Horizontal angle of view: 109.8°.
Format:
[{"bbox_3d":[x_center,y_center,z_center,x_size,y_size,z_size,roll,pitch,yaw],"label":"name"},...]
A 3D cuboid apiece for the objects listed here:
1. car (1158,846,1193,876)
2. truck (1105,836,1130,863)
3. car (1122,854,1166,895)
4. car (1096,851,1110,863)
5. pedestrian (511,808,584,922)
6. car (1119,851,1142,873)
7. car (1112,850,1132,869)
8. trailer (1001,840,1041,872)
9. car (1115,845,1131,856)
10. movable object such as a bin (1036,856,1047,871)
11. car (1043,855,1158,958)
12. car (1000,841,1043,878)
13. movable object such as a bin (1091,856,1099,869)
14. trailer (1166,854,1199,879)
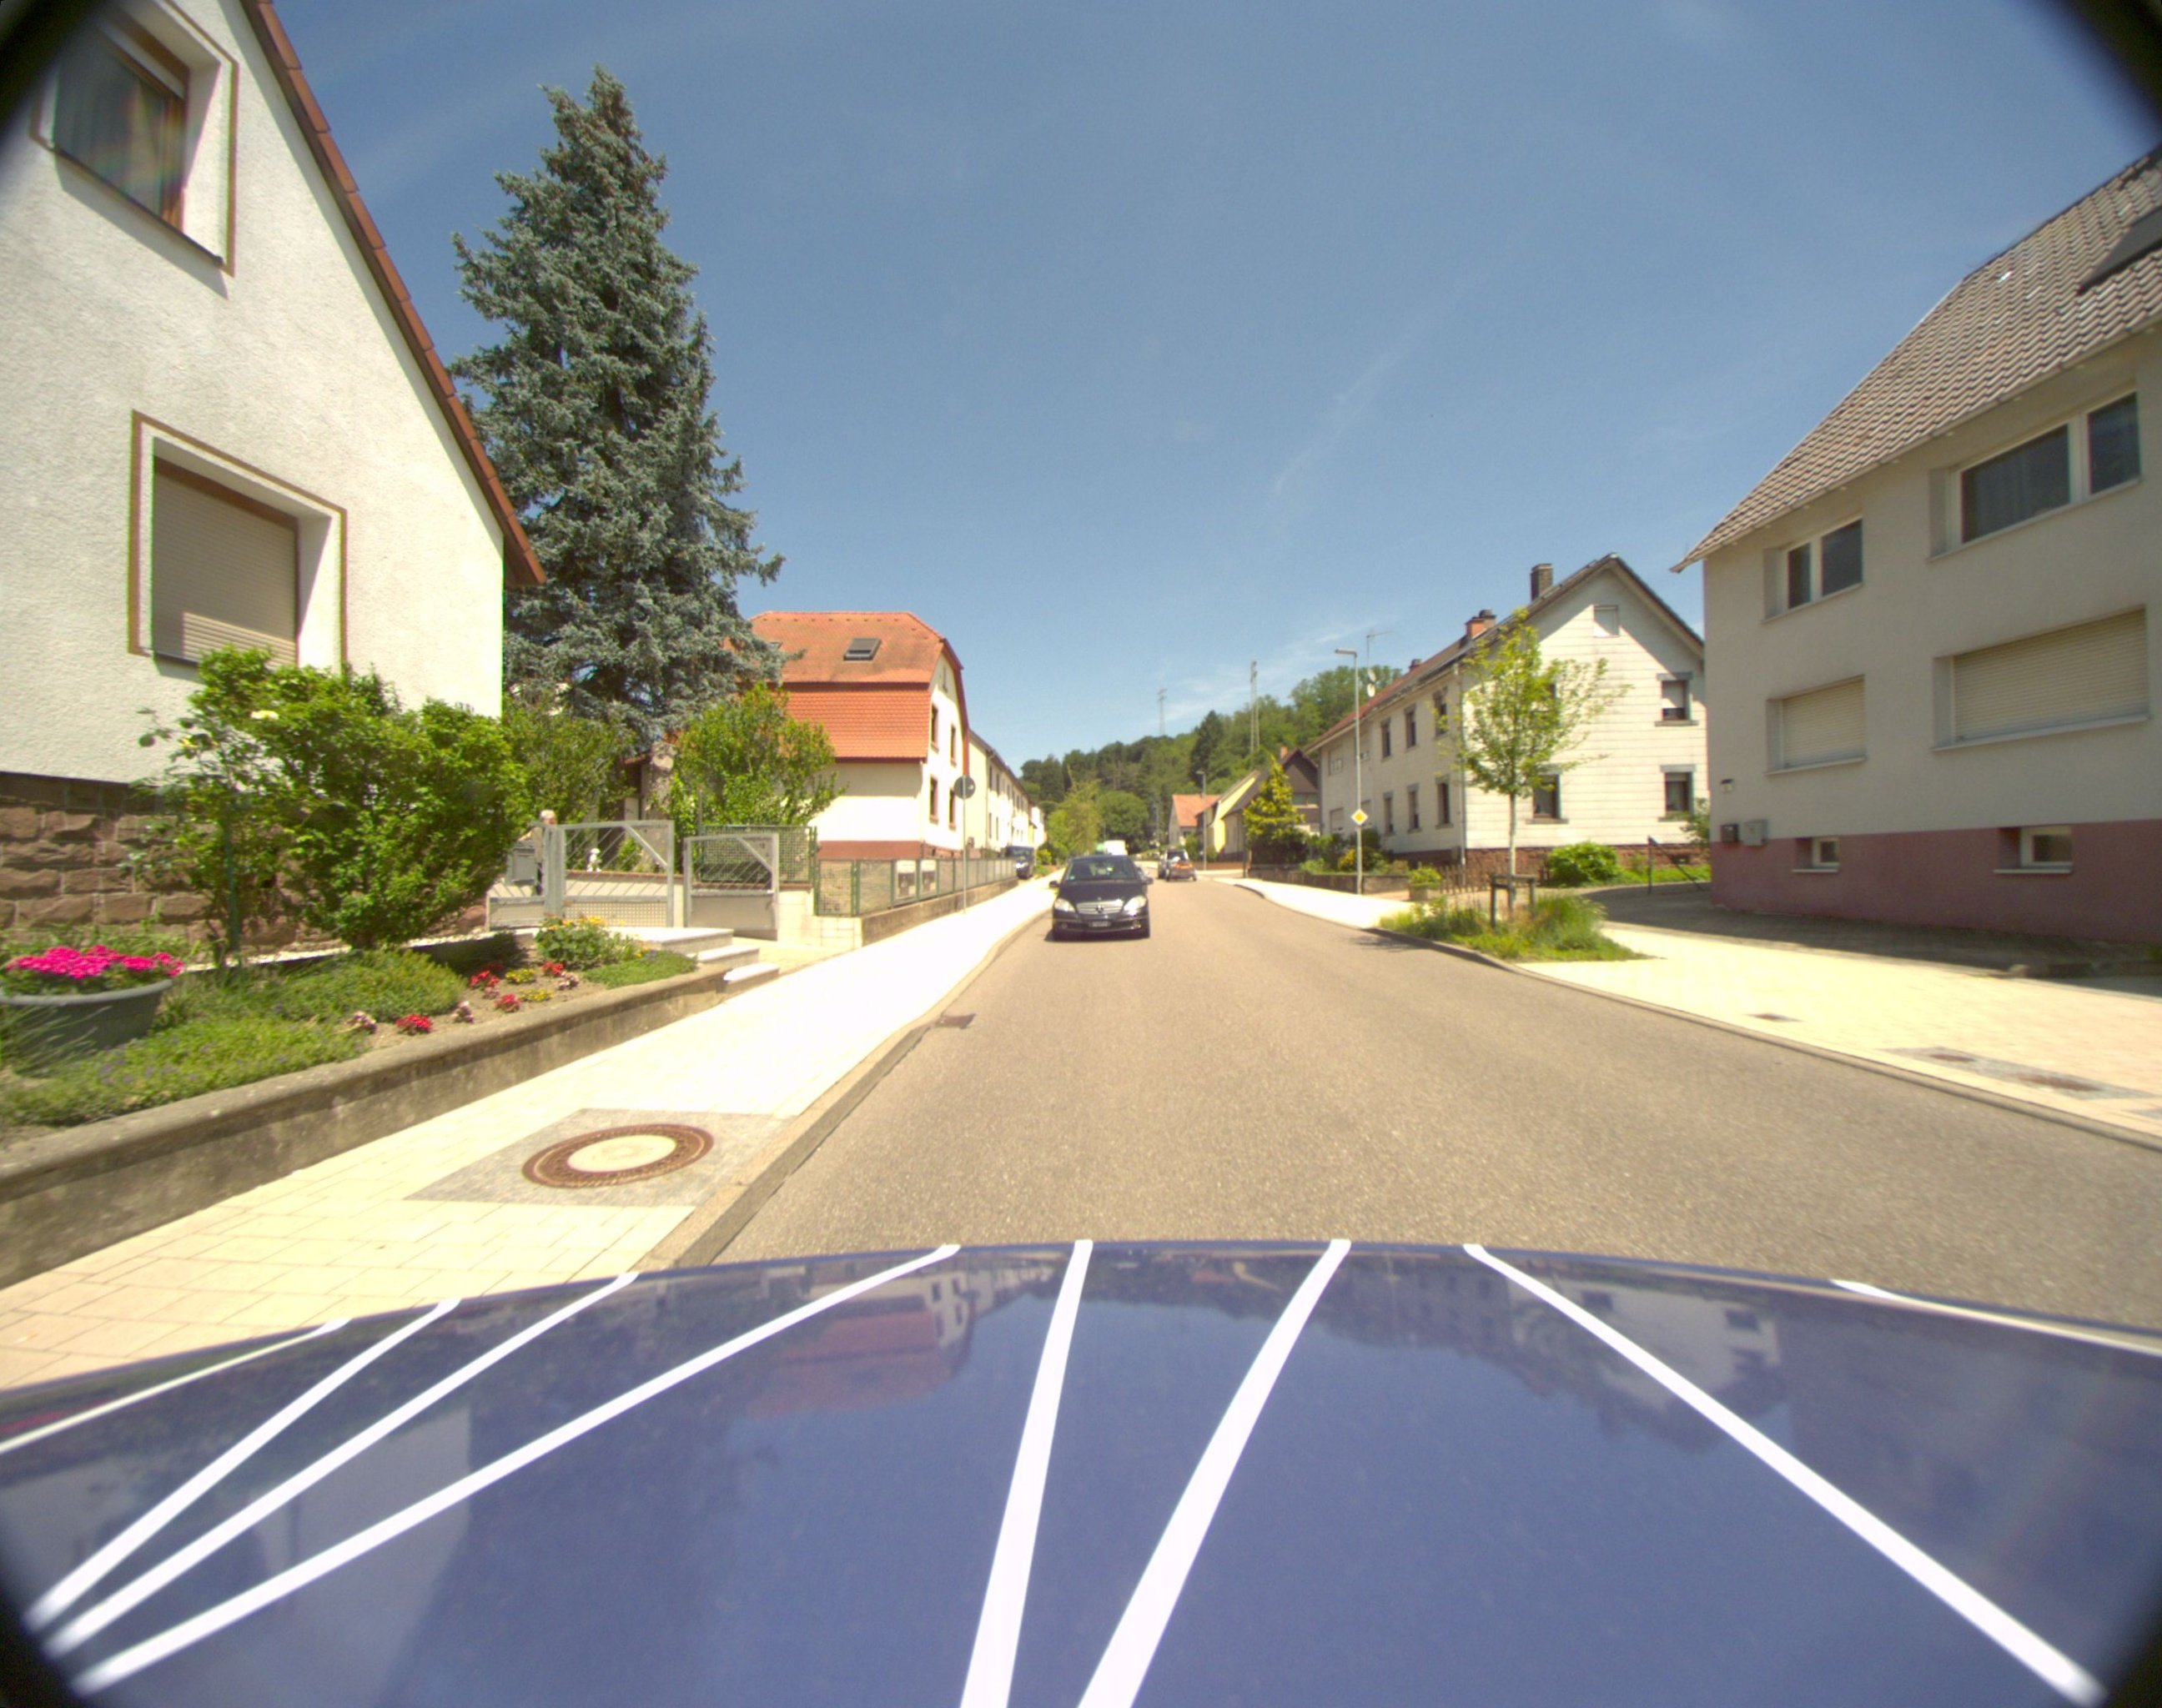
[{"bbox_3d":[6.147,0.434,49.833,1.894,1.850,4.579,-1,0,3],"label":"car"},{"bbox_3d":[4.781,-0.546,100.616,2.806,3.394,8.118,1,0,0],"label":"truck"},{"bbox_3d":[2.683,0.824,33.026,1.714,1.595,3.880,-2,0,3],"label":"car"},{"bbox_3d":[3.461,0.473,118.623,1.998,1.805,4.001,-2,0,3],"label":"car"},{"bbox_3d":[-7.877,0.157,11.241,0.605,1.606,0.552,4,1,1],"label":"pedestrian"},{"bbox_3d":[3.875,0.608,59.675,1.714,1.595,3.880,-2,0,3],"label":"car"},{"bbox_3d":[4.149,0.557,77.380,1.967,1.823,4.466,0,0,4],"label":"car"},{"bbox_3d":[-3.963,0.115,50.495,1.321,2.002,2.278,-1,1,44],"label":"trailer"},{"bbox_3d":[7.996,-0.681,146.157,1.706,1.938,3.994,-2,1,-17],"label":"car"},{"bbox_3d":[-3.135,0.745,59.788,0.685,1.109,0.812,3,1,7],"label":"movable object such as a bin"},{"bbox_3d":[0.424,0.853,14.386,1.790,1.595,4.076,-3,0,3],"label":"car"},{"bbox_3d":[-3.475,0.311,45.170,1.856,1.959,4.774,5,0,2],"label":"car"},{"bbox_3d":[1.577,0.931,83.864,0.794,1.387,0.925,-2,0,-1],"label":"movable object such as a bin"},{"bbox_3d":[6.078,0.691,45.731,1.578,1.387,4.403,-1,0,3],"label":"trailer"}]
